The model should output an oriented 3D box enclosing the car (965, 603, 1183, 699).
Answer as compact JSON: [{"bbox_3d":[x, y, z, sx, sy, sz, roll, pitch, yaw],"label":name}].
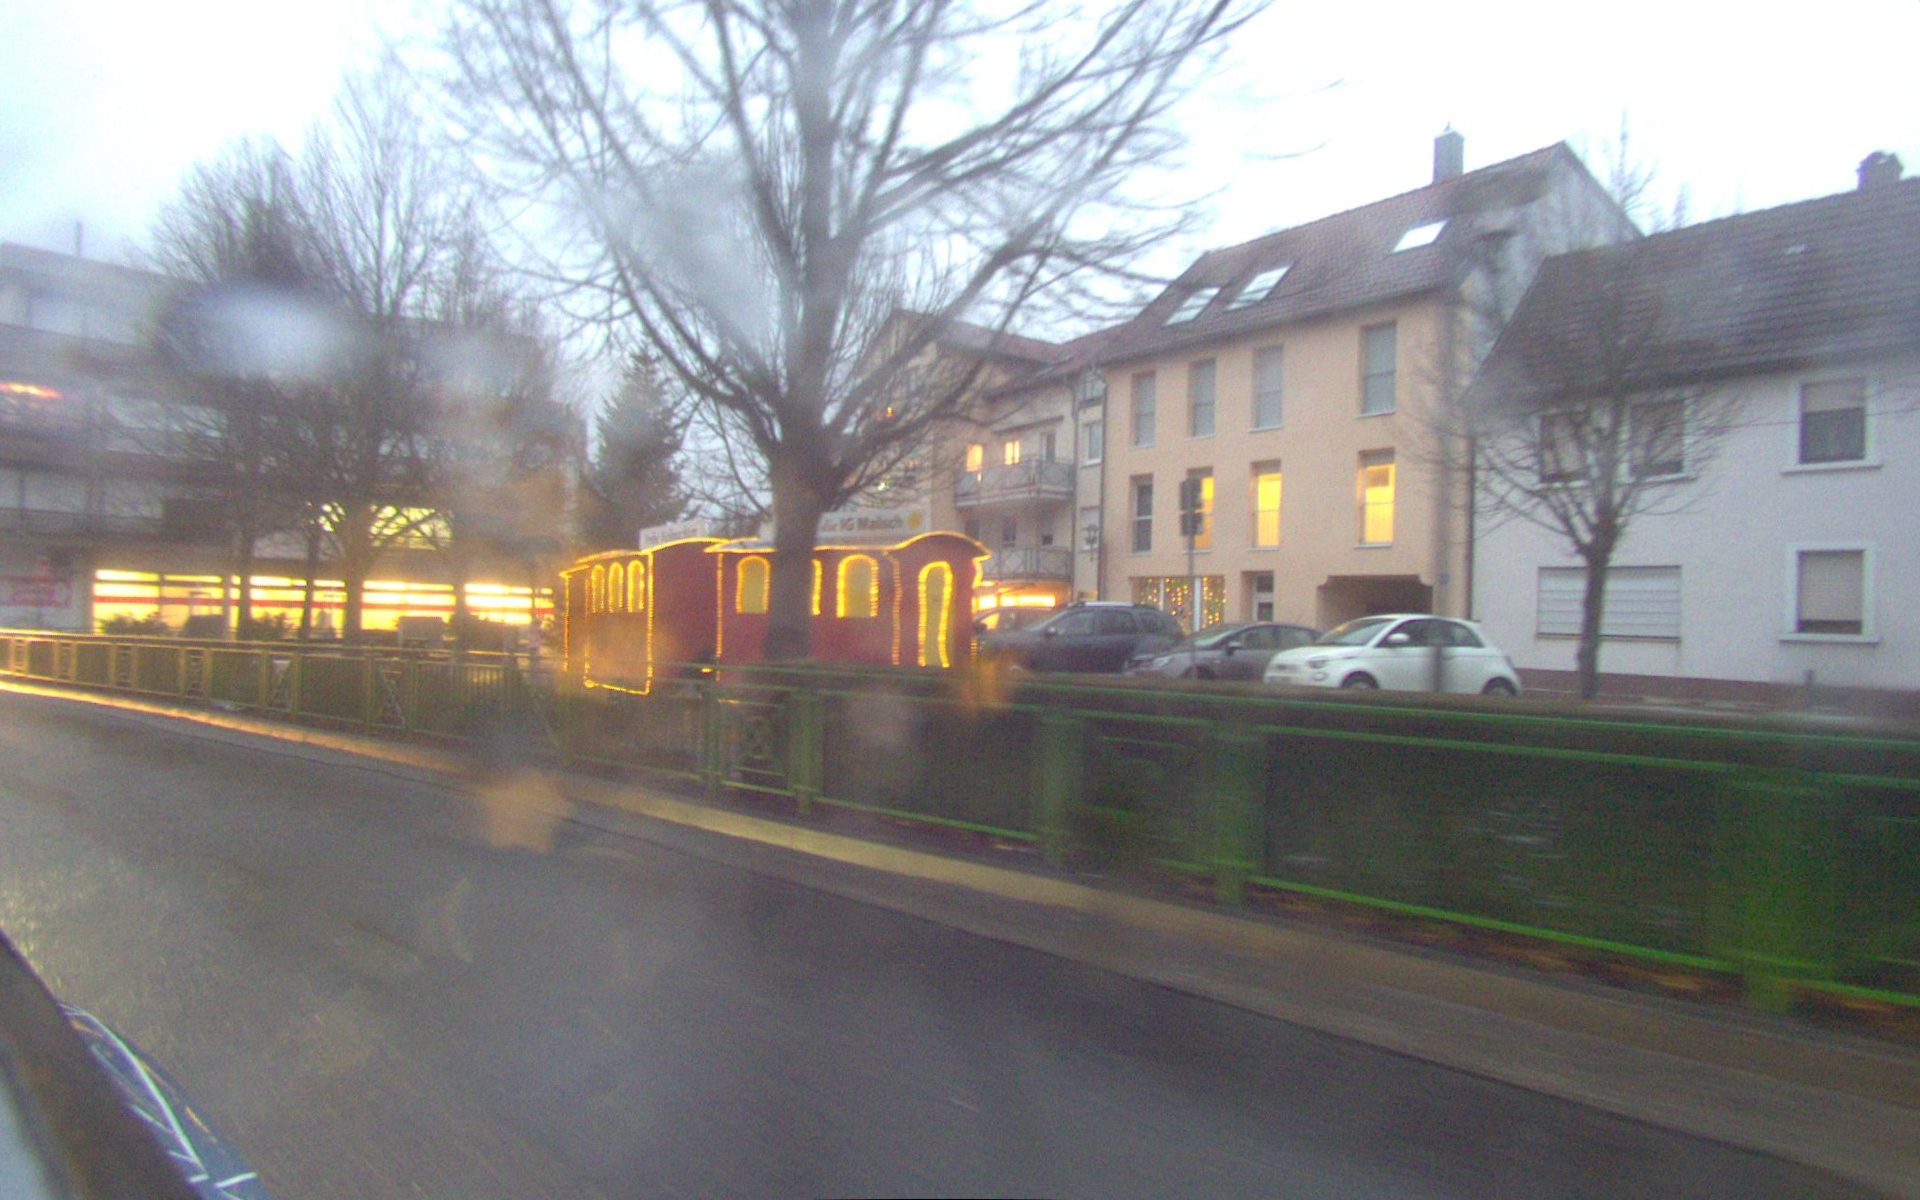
[{"bbox_3d":[2.039,0.873,18.406,3.573,1.624,1.615,0,-1,-15],"label":"car"}]

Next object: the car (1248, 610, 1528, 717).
[{"bbox_3d":[6.166,0.863,14.709,3.427,1.420,1.614,0,-1,-13],"label":"car"}]

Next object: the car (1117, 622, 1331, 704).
[{"bbox_3d":[4.310,0.997,16.691,3.004,1.229,1.615,0,-1,-15],"label":"car"}]

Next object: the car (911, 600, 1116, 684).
[{"bbox_3d":[1.089,0.876,21.050,3.932,1.645,1.639,1,-2,-15],"label":"car"}]

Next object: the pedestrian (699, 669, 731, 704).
[{"bbox_3d":[-3.630,1.278,15.016,0.361,0.488,0.291,0,-3,41],"label":"pedestrian"}]

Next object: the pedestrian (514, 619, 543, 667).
[{"bbox_3d":[-12.386,1.227,29.037,0.612,1.349,0.568,1,-2,-42],"label":"pedestrian"}]
